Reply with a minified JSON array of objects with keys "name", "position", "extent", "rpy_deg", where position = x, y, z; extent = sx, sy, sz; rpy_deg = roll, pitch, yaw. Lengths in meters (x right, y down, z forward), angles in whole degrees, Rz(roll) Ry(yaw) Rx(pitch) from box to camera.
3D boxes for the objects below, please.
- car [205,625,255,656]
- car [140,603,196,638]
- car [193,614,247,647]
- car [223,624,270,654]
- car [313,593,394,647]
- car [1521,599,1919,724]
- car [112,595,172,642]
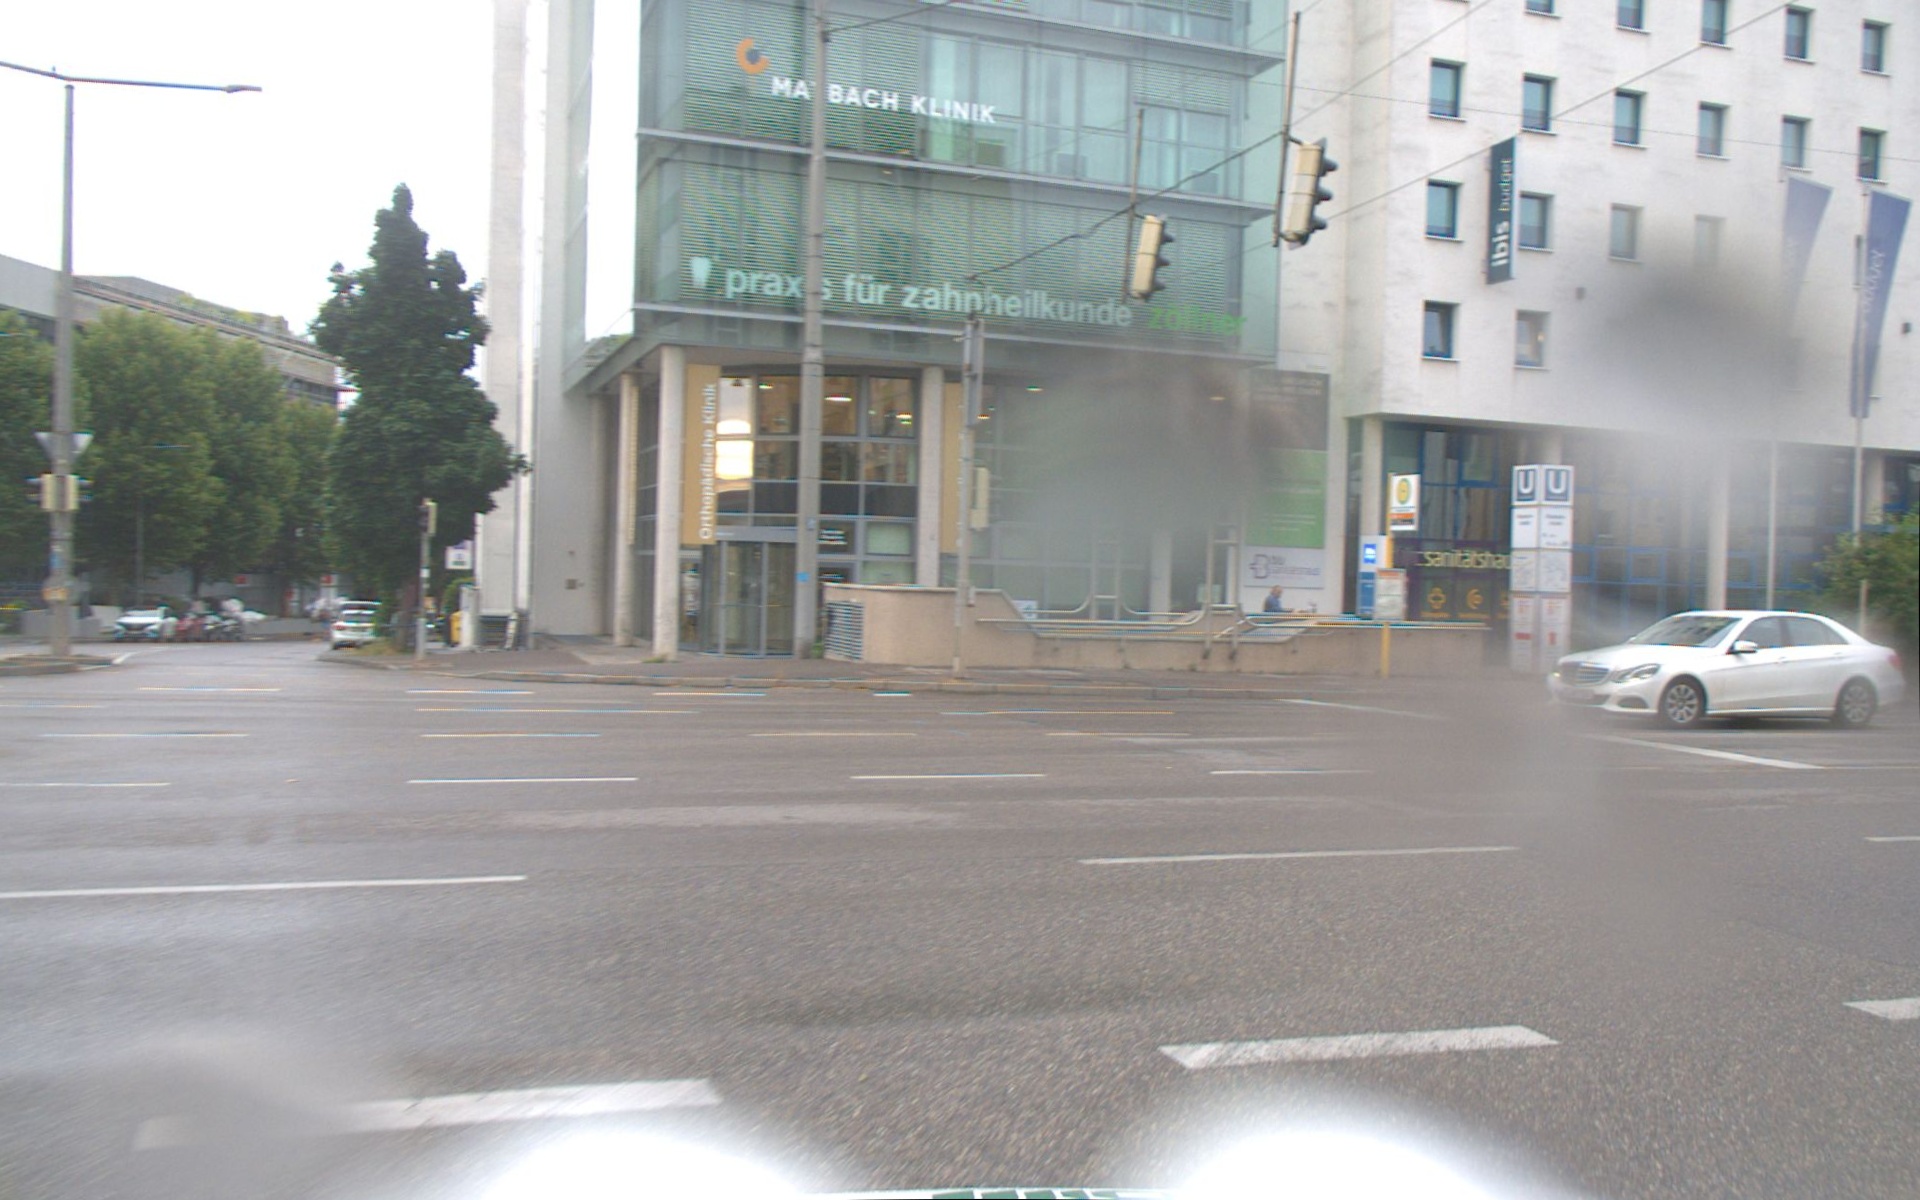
[{"name":"car","position":[-41.040,2.289,93.062],"extent":[1.649,1.622,3.662],"rpy_deg":[3,-2,-10]},{"name":"car","position":[-39.624,1.041,82.849],"extent":[1.650,1.622,3.843],"rpy_deg":[3,-2,-13]},{"name":"car","position":[-39.779,1.648,89.001],"extent":[1.649,1.622,3.846],"rpy_deg":[3,-2,-10]},{"name":"car","position":[-41.779,2.272,96.950],"extent":[1.649,1.622,3.662],"rpy_deg":[3,-2,-10]},{"name":"car","position":[-21.233,0.699,57.806],"extent":[1.972,1.747,3.961],"rpy_deg":[4,-2,-29]},{"name":"car","position":[9.666,0.773,20.876],"extent":[4.876,1.411,1.812],"rpy_deg":[2,0,-21]},{"name":"car","position":[-38.552,0.879,78.078],"extent":[1.964,2.049,3.976],"rpy_deg":[4,-2,-20]}]
